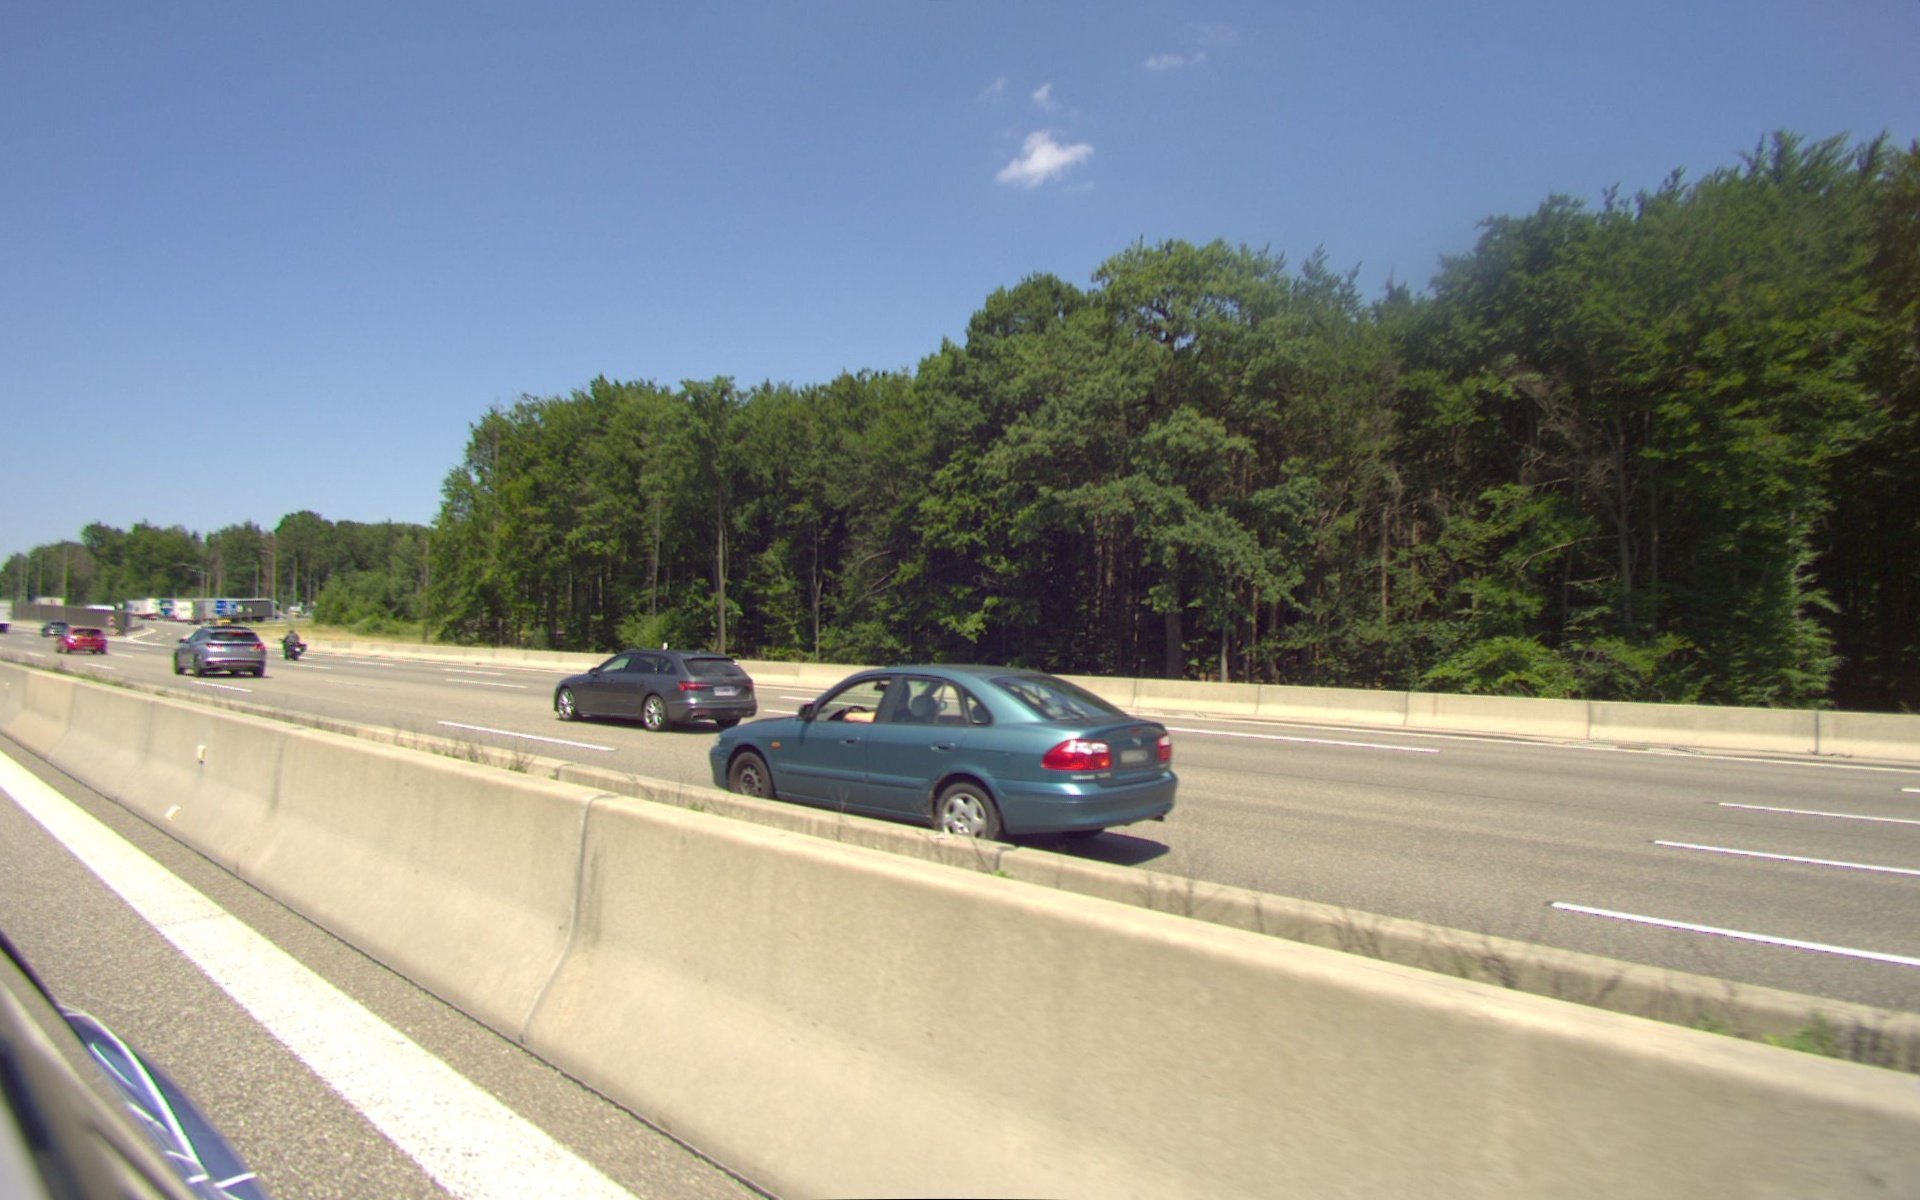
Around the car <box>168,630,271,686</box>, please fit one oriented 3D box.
[{"bbox_3d":[-25.077,1.895,34.209,4.508,1.737,1.949,-1,-2,43],"label":"car"}]

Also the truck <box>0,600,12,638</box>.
[{"bbox_3d":[-107.772,2.068,112.261,9.463,4.043,2.828,-1,-2,41],"label":"truck"}]

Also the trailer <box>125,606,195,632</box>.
[{"bbox_3d":[-160.196,3.859,202.974,3.175,5.111,14.580,1,-2,-4],"label":"trailer"}]

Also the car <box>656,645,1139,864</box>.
[{"bbox_3d":[-0.767,1.215,9.330,4.489,1.387,1.734,0,-3,41],"label":"car"}]

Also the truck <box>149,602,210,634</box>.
[{"bbox_3d":[-145.334,3.390,188.712,3.179,5.655,11.549,1,-2,-5],"label":"truck"}]

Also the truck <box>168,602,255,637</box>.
[{"bbox_3d":[-126.696,3.451,171.776,3.399,5.655,16.725,1,-2,-4],"label":"truck"}]

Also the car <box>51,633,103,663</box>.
[{"bbox_3d":[-47.885,2.572,54.875,4.028,1.523,1.555,-1,-3,42],"label":"car"}]

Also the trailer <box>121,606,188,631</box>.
[{"bbox_3d":[-167.905,3.988,211.249,3.082,5.111,14.580,1,-2,-4],"label":"trailer"}]

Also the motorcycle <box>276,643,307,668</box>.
[{"bbox_3d":[-34.712,2.870,52.546,2.348,1.223,0.730,-1,-3,41],"label":"motorcycle"}]

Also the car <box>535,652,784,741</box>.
[{"bbox_3d":[-5.734,1.699,18.984,5.038,1.360,1.903,-1,-3,38],"label":"car"}]

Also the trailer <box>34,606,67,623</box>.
[{"bbox_3d":[-174.956,2.726,194.604,14.603,3.148,2.941,-1,-2,41],"label":"trailer"}]

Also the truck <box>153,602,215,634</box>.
[{"bbox_3d":[-141.475,3.333,184.756,3.179,5.655,11.549,1,-2,-5],"label":"truck"}]

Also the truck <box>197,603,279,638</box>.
[{"bbox_3d":[-123.244,3.583,173.265,3.175,5.655,16.725,1,-2,-4],"label":"truck"}]

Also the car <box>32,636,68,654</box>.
[{"bbox_3d":[-89.617,4.406,99.603,5.186,1.687,2.025,-1,-3,42],"label":"car"}]

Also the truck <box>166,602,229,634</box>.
[{"bbox_3d":[-138.036,3.362,183.447,3.317,5.655,11.549,1,-2,-5],"label":"truck"}]

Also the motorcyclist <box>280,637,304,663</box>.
[{"bbox_3d":[-34.613,2.595,52.451,1.077,1.311,0.752,0,-2,41],"label":"motorcyclist"}]

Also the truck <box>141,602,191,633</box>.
[{"bbox_3d":[-148.813,3.360,189.806,3.179,5.655,8.497,1,-2,-5],"label":"truck"}]
